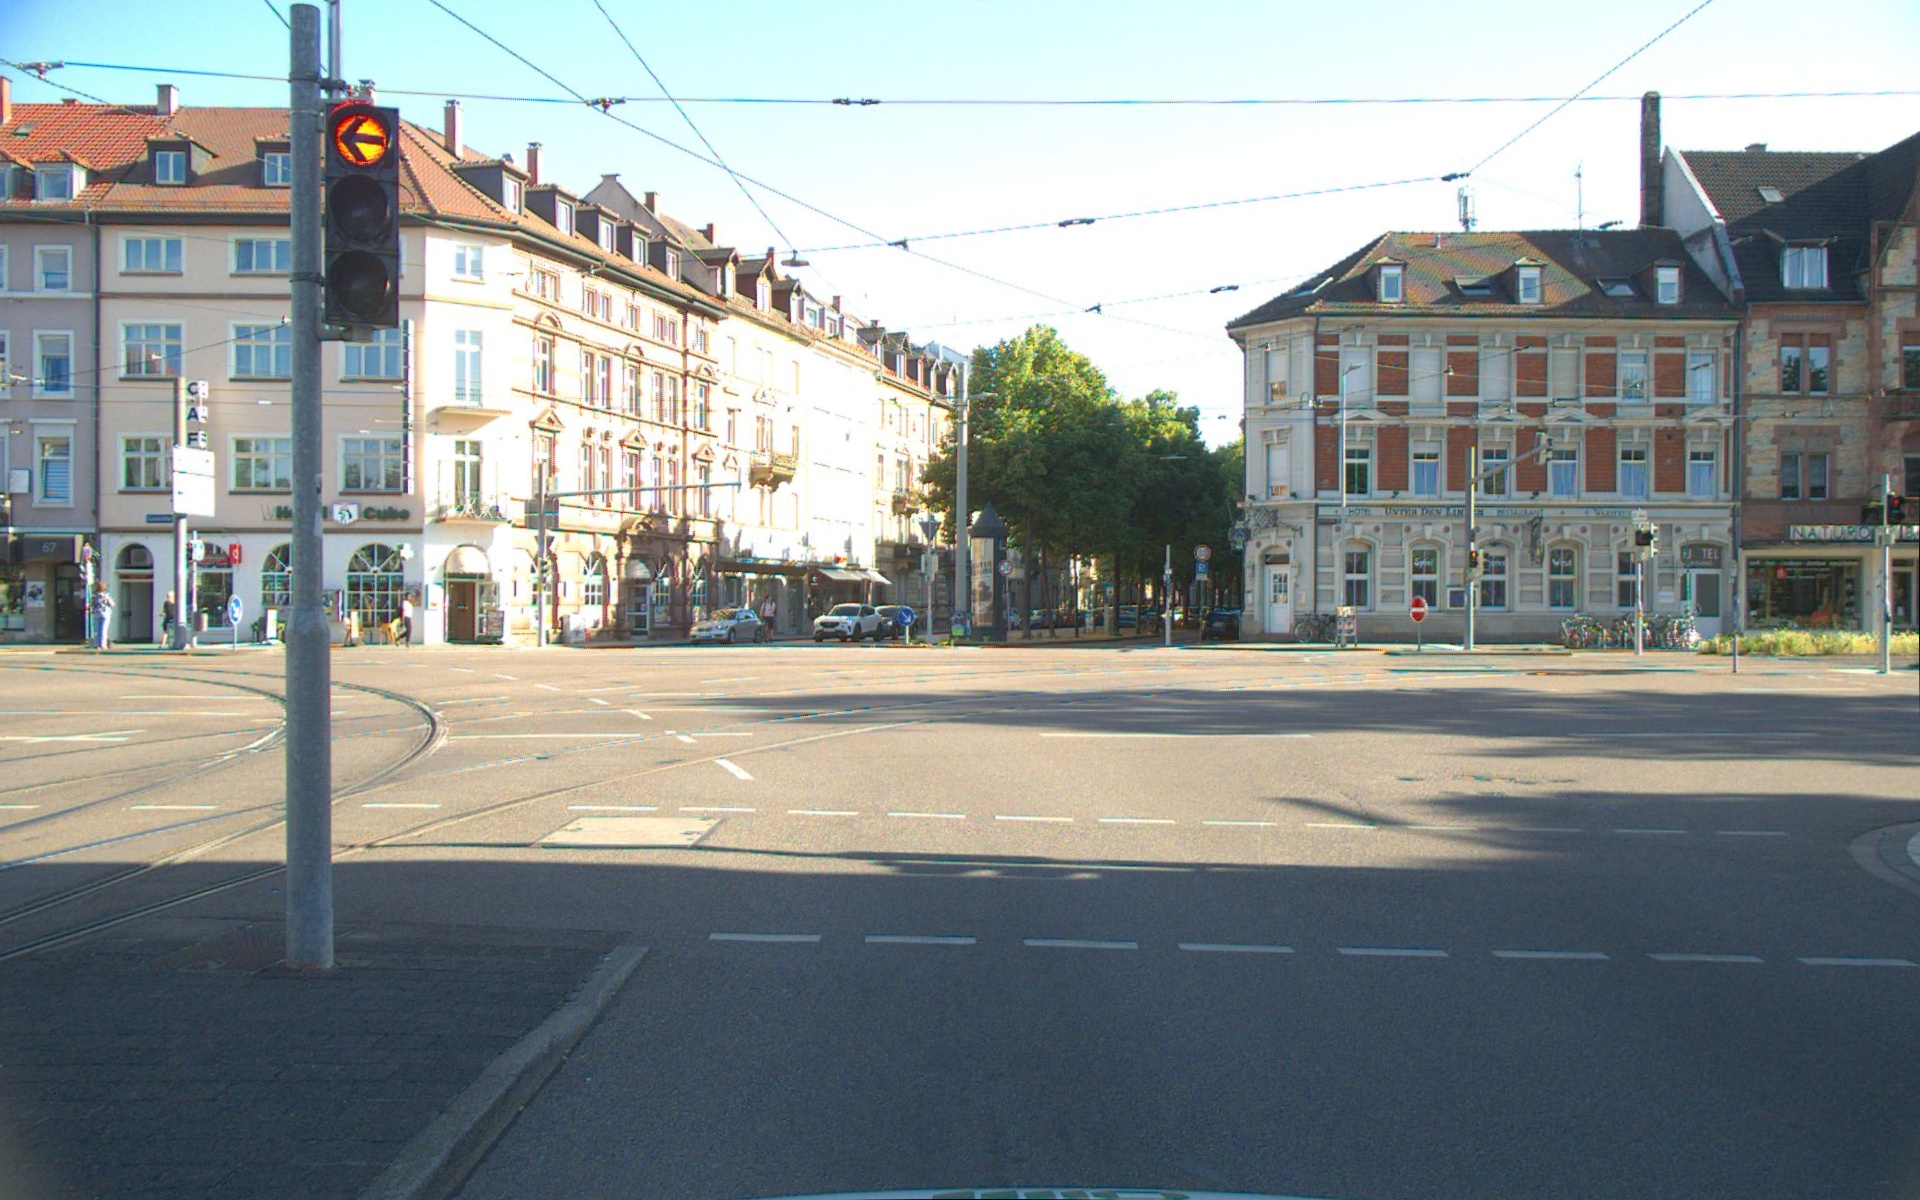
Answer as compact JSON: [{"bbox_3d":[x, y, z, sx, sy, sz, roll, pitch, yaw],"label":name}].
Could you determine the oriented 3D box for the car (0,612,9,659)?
[{"bbox_3d":[-32.395,1.140,51.937,3.907,1.478,1.999,0,0,-3],"label":"car"}]

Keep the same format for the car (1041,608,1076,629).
[{"bbox_3d":[7.783,1.413,130.555,1.798,1.579,4.393,0,0,16],"label":"car"}]

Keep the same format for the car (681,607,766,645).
[{"bbox_3d":[-9.523,1.030,66.892,1.858,1.481,4.002,0,0,17],"label":"car"}]

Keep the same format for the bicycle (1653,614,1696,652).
[{"bbox_3d":[23.040,1.051,53.390,0.596,1.156,2.136,0,0,4],"label":"bicycle"}]

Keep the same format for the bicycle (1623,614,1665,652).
[{"bbox_3d":[22.076,1.048,53.442,0.605,1.163,2.175,0,0,4],"label":"bicycle"}]

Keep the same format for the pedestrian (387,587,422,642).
[{"bbox_3d":[-17.942,0.460,53.458,1.029,1.774,0.805,0,0,-16],"label":"pedestrian"}]

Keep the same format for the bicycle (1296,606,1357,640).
[{"bbox_3d":[12.755,0.812,57.575,2.045,1.144,0.366,1,-1,-5],"label":"bicycle"}]

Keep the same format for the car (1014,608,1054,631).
[{"bbox_3d":[5.530,1.417,122.730,1.951,1.640,4.393,0,0,17],"label":"car"}]

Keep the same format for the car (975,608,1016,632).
[{"bbox_3d":[2.415,1.317,110.983,1.951,1.512,4.003,0,0,13],"label":"car"}]

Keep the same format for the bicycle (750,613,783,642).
[{"bbox_3d":[-7.593,1.076,64.882,0.665,1.085,2.127,0,0,12],"label":"bicycle"}]

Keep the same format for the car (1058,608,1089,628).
[{"bbox_3d":[9.395,1.452,136.456,1.727,1.576,4.394,0,0,16],"label":"car"}]

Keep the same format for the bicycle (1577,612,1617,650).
[{"bbox_3d":[20.597,0.992,53.532,0.605,1.163,2.175,0,0,4],"label":"bicycle"}]

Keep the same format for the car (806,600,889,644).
[{"bbox_3d":[-4.539,0.879,67.245,1.951,1.713,4.393,0,0,17],"label":"car"}]

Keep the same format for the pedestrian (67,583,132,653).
[{"bbox_3d":[-21.564,0.445,41.486,1.058,1.714,1.103,0,0,-1],"label":"pedestrian"}]

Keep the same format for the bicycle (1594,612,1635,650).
[{"bbox_3d":[21.168,0.986,53.502,0.605,1.163,2.175,0,0,4],"label":"bicycle"}]

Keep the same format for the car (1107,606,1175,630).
[{"bbox_3d":[12.624,1.218,115.541,4.290,1.640,1.998,0,0,26],"label":"car"}]

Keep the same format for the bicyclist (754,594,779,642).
[{"bbox_3d":[-7.582,0.689,64.924,0.664,1.852,1.071,0,0,12],"label":"bicyclist"}]

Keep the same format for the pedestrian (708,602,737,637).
[{"bbox_3d":[-10.744,0.868,74.827,0.908,1.562,1.138,0,0,13],"label":"pedestrian"}]

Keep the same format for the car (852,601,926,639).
[{"bbox_3d":[-3.145,0.856,73.780,1.951,1.640,4.393,0,0,17],"label":"car"}]

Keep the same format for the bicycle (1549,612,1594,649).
[{"bbox_3d":[19.825,0.982,53.650,0.789,1.163,2.175,0,0,4],"label":"bicycle"}]

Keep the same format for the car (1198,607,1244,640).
[{"bbox_3d":[13.073,1.153,82.626,1.951,1.613,4.003,0,0,13],"label":"car"}]

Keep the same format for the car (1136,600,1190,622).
[{"bbox_3d":[16.421,0.875,133.865,3.912,1.736,1.996,0,0,30],"label":"car"}]

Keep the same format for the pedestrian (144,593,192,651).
[{"bbox_3d":[-24.889,0.681,51.999,0.985,1.806,0.942,0,0,14],"label":"pedestrian"}]
